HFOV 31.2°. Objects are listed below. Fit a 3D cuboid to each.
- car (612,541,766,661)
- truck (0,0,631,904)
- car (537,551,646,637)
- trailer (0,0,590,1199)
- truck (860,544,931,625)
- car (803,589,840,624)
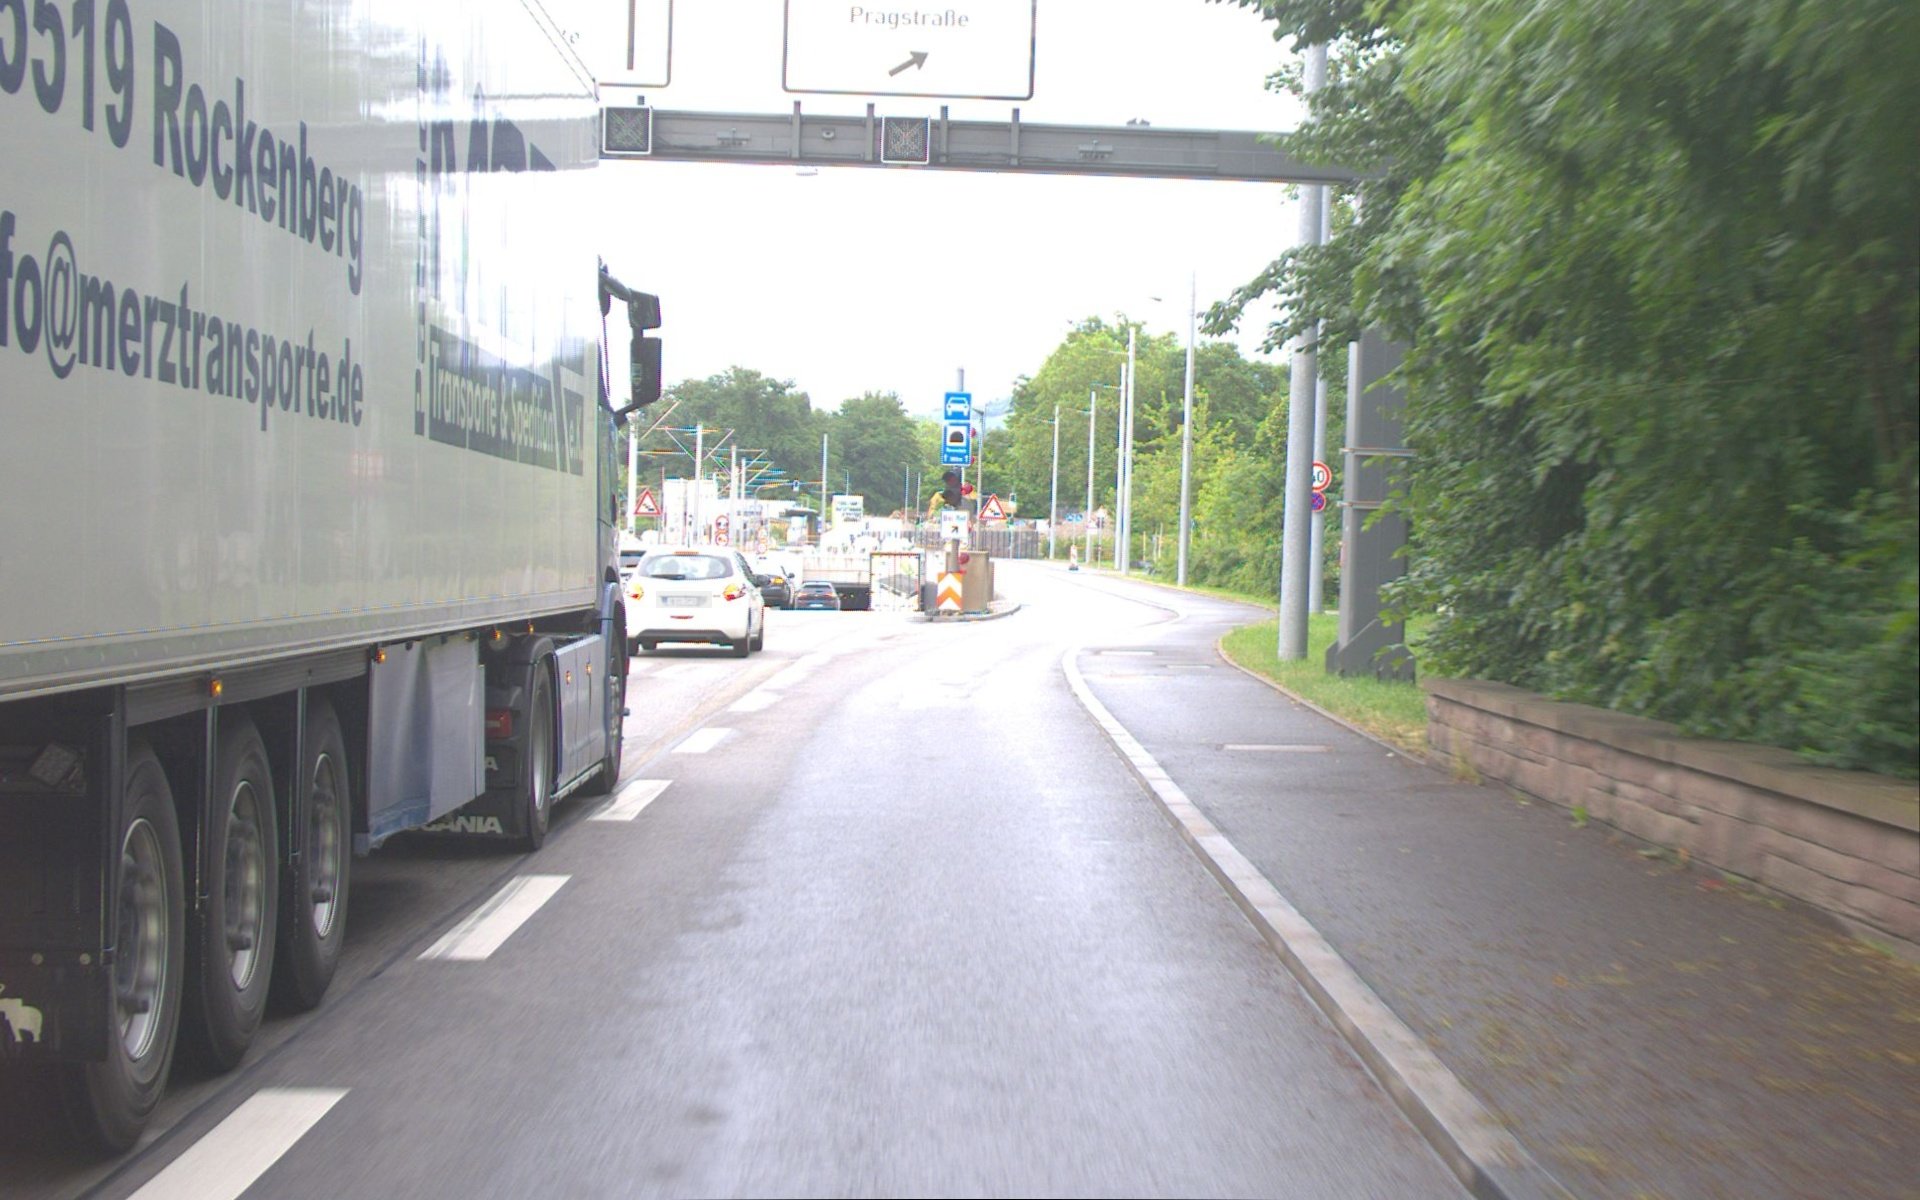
[{"bbox_3d":[-3.609,-0.023,46.392,1.810,1.419,4.001,1,3,-1],"label":"car"},{"bbox_3d":[-3.341,-0.871,17.667,2.756,4.190,6.307,0,1,-1],"label":"truck"},{"bbox_3d":[-6.973,-0.143,65.291,1.681,1.441,4.001,1,3,-1],"label":"car"},{"bbox_3d":[-3.258,-0.745,11.696,2.762,4.238,13.184,0,1,-1],"label":"trailer"},{"bbox_3d":[-3.314,-0.813,177.292,3.518,4.026,8.074,1,1,-1],"label":"truck"},{"bbox_3d":[-5.660,0.259,140.478,1.426,1.349,2.960,1,1,-1],"label":"car"}]
